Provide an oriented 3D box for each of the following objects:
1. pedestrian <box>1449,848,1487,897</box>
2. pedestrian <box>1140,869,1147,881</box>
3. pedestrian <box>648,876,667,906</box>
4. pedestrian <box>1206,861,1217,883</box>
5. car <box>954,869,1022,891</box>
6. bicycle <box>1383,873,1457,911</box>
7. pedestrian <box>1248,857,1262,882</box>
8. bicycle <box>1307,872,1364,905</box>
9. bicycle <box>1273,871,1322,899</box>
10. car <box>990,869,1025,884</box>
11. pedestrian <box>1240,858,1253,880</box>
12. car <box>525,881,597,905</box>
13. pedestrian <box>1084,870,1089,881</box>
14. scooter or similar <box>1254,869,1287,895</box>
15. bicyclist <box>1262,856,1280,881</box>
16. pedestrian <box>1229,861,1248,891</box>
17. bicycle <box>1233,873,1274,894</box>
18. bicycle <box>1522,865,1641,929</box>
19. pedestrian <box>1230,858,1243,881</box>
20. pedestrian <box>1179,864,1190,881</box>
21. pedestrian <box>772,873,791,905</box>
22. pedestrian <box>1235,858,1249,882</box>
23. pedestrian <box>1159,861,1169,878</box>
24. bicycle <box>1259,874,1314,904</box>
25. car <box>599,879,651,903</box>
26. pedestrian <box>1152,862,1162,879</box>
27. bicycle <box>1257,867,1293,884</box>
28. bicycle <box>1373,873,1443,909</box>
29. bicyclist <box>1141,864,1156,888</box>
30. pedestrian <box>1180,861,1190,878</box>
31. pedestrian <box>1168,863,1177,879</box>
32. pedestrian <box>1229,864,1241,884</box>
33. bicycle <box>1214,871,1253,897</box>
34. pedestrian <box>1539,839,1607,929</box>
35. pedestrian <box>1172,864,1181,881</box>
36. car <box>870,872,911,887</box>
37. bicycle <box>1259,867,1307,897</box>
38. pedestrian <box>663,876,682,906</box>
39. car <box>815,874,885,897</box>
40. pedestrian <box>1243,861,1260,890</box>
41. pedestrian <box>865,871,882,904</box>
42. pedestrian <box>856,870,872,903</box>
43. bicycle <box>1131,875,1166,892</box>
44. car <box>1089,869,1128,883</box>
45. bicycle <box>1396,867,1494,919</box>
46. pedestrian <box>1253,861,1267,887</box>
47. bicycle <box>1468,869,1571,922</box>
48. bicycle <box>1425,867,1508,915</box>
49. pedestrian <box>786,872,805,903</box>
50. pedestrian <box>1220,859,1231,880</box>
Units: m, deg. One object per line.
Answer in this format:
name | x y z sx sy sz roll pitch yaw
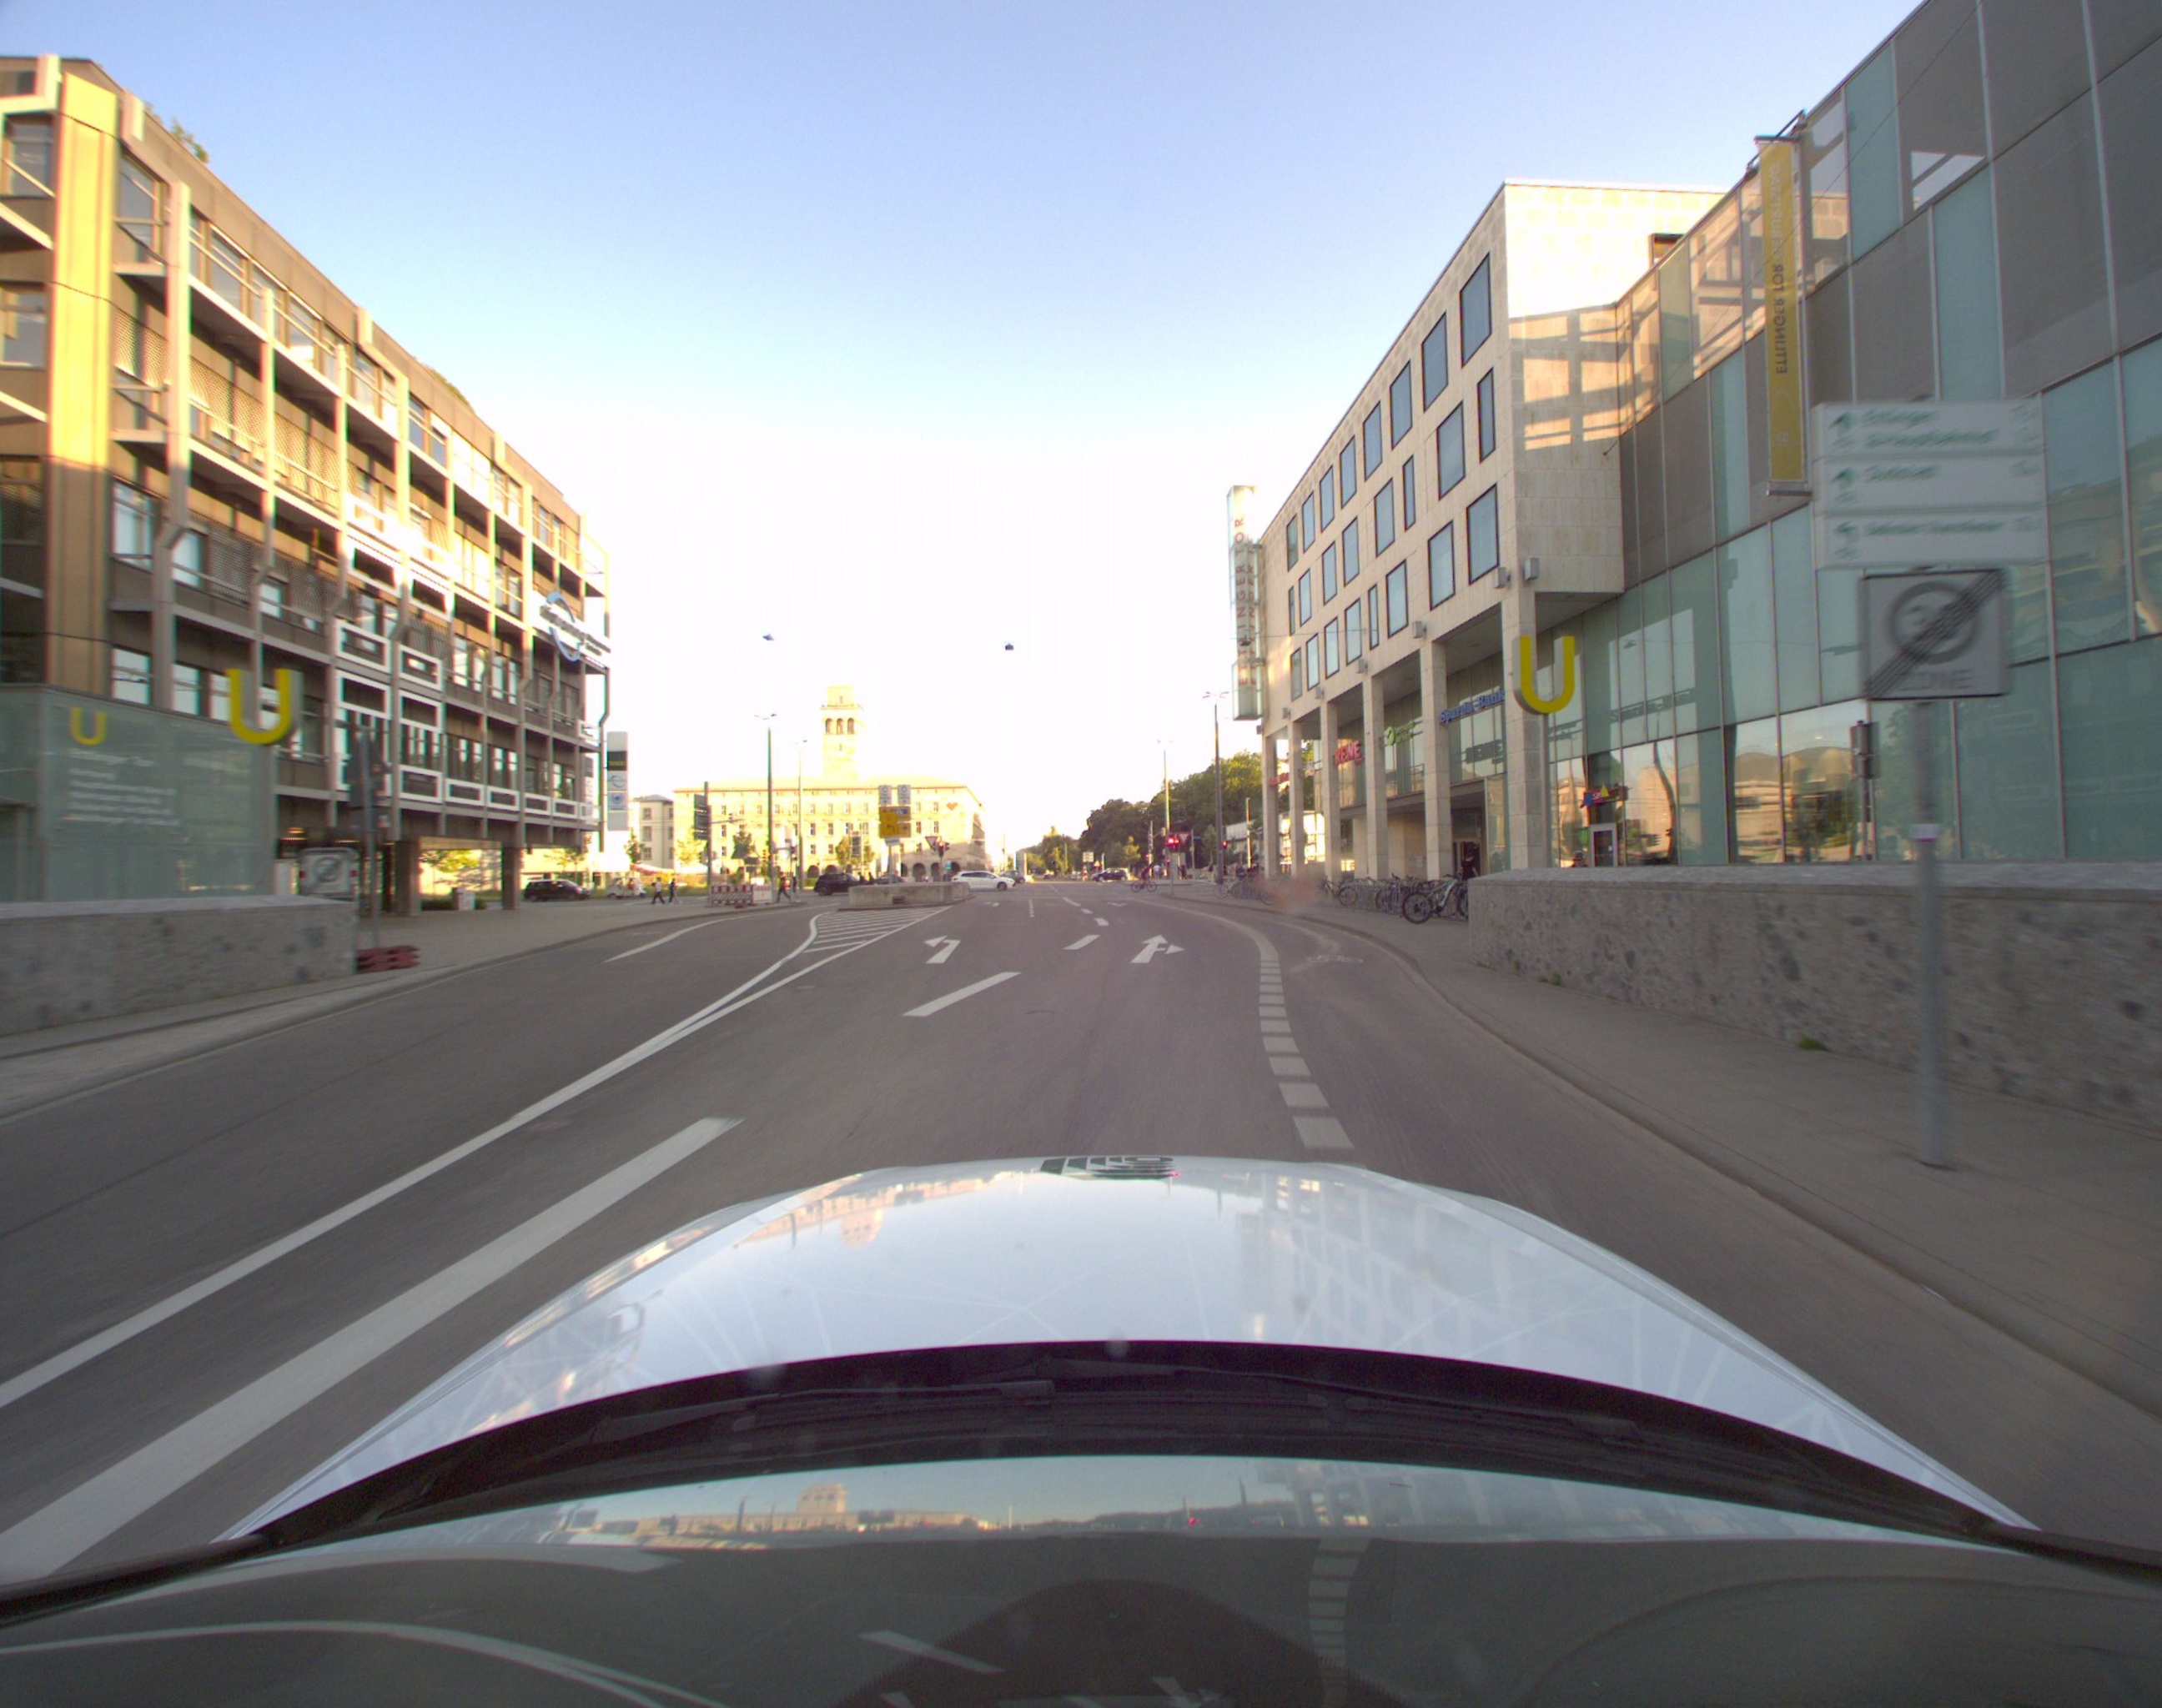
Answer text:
pedestrian | 14.836 0.705 31.215 0.859 1.777 0.989 -3 -1 -5
pedestrian | 9.233 3.170 120.698 0.807 1.730 0.927 -1 -1 -5
pedestrian | -26.241 2.286 50.462 0.745 1.777 0.853 -3 -1 -40
pedestrian | 10.775 1.477 67.310 0.690 1.730 0.741 -2 -1 -2
car | -6.714 1.875 59.299 4.788 1.496 2.124 -2 -1 -5
bicycle | 9.139 1.021 21.977 1.805 0.936 0.515 -2 -1 -6
pedestrian | 13.034 1.167 60.962 0.889 1.840 0.688 -2 -1 3
bicycle | 8.977 1.206 28.777 1.808 1.100 0.601 1 -1 3
bicycle | 8.814 1.239 33.174 1.865 1.113 0.570 0 -1 -1
car | -7.936 2.428 87.824 3.714 1.453 1.540 -1 -1 -10
pedestrian | 12.951 1.174 63.897 0.888 1.730 0.689 -2 -1 6
car | -39.144 2.941 61.344 4.184 1.592 1.689 -1 -1 -12
pedestrian | 0.674 2.784 105.183 0.522 1.374 0.686 -1 -1 -7
scooter or similar | 8.533 1.248 36.709 1.273 1.160 0.672 -1 -1 -5
bicyclist | 12.810 0.980 54.954 1.017 1.621 0.653 -2 -1 -2
pedestrian | 9.790 1.367 50.689 0.859 1.777 0.740 -4 -1 -3
bicycle | 8.361 1.429 39.555 1.864 0.936 0.515 -2 -1 -6
bicycle | 9.801 0.843 15.978 1.981 1.179 0.516 -2 -1 1
pedestrian | 11.970 1.203 62.674 0.888 1.730 0.689 -2 -1 6
pedestrian | 10.782 1.932 84.999 0.814 1.730 0.681 -1 -1 -32
pedestrian | -17.378 1.998 47.220 0.737 1.777 0.861 -4 -1 -6
pedestrian | 12.039 1.215 61.063 0.889 1.730 0.688 -2 -1 4
pedestrian | 8.606 1.638 84.575 0.807 1.730 0.686 -1 -1 -5
bicycle | 7.574 1.284 30.069 1.891 1.048 0.570 -2 -1 1
car | -34.602 2.783 61.884 3.139 1.685 1.602 -1 -1 -18
pedestrian | 7.866 1.743 84.426 0.807 1.730 0.686 -1 -1 -5
bicycle | 13.072 1.420 54.955 2.236 1.062 0.653 -2 -1 -3
bicycle | 9.068 1.025 22.609 1.735 0.936 0.515 -2 -1 -6
bicyclist | 4.472 1.452 54.080 0.878 1.531 0.652 -2 -1 -5
pedestrian | 10.976 1.647 85.981 0.690 1.730 0.803 -1 -1 -30
pedestrian | 9.623 1.773 85.600 0.803 1.730 0.689 -2 -1 8
pedestrian | 13.420 1.756 71.144 0.834 1.730 0.687 -2 -1 -3
bicycle | 7.479 1.469 39.881 1.805 1.212 0.572 -2 -1 11
pedestrian | 9.829 0.597 16.291 0.832 1.735 0.820 -2 -1 4
pedestrian | 9.954 1.930 84.905 0.803 1.730 0.689 -2 -1 8
car | -19.792 2.637 84.579 3.998 1.494 1.817 -2 -1 -18
bicycle | 8.667 1.200 34.946 1.864 1.260 0.672 0 -1 -5
pedestrian | -25.286 2.292 50.441 0.745 1.777 0.853 -3 -1 -42
car | -16.625 2.233 58.733 4.452 1.496 2.124 -2 -1 -5
pedestrian | 10.598 1.338 50.736 0.754 1.777 0.740 -4 -1 -3
pedestrian | -11.400 1.830 44.663 0.741 1.777 0.857 -2 -1 -23
pedestrian | -12.111 1.804 45.394 0.742 1.777 0.856 0 -1 -24
bicycle | 4.465 1.950 54.072 2.238 1.062 0.652 -2 -1 -5
car | 3.077 2.439 90.926 3.984 1.453 1.537 -1 -1 -16
bicycle | 8.357 0.894 18.733 1.981 1.129 0.570 -2 -1 1
pedestrian | 12.839 1.430 58.418 0.888 1.831 0.689 -2 -1 5
bicycle | 9.635 0.907 17.937 1.981 1.129 0.556 1 -1 1
bicycle | 9.464 0.903 20.027 1.759 1.129 0.516 -2 -1 -1
pedestrian | -16.953 1.953 48.363 0.737 1.777 0.861 -4 -1 -6
pedestrian | 12.371 1.343 69.874 0.830 1.730 0.690 -2 -1 12
